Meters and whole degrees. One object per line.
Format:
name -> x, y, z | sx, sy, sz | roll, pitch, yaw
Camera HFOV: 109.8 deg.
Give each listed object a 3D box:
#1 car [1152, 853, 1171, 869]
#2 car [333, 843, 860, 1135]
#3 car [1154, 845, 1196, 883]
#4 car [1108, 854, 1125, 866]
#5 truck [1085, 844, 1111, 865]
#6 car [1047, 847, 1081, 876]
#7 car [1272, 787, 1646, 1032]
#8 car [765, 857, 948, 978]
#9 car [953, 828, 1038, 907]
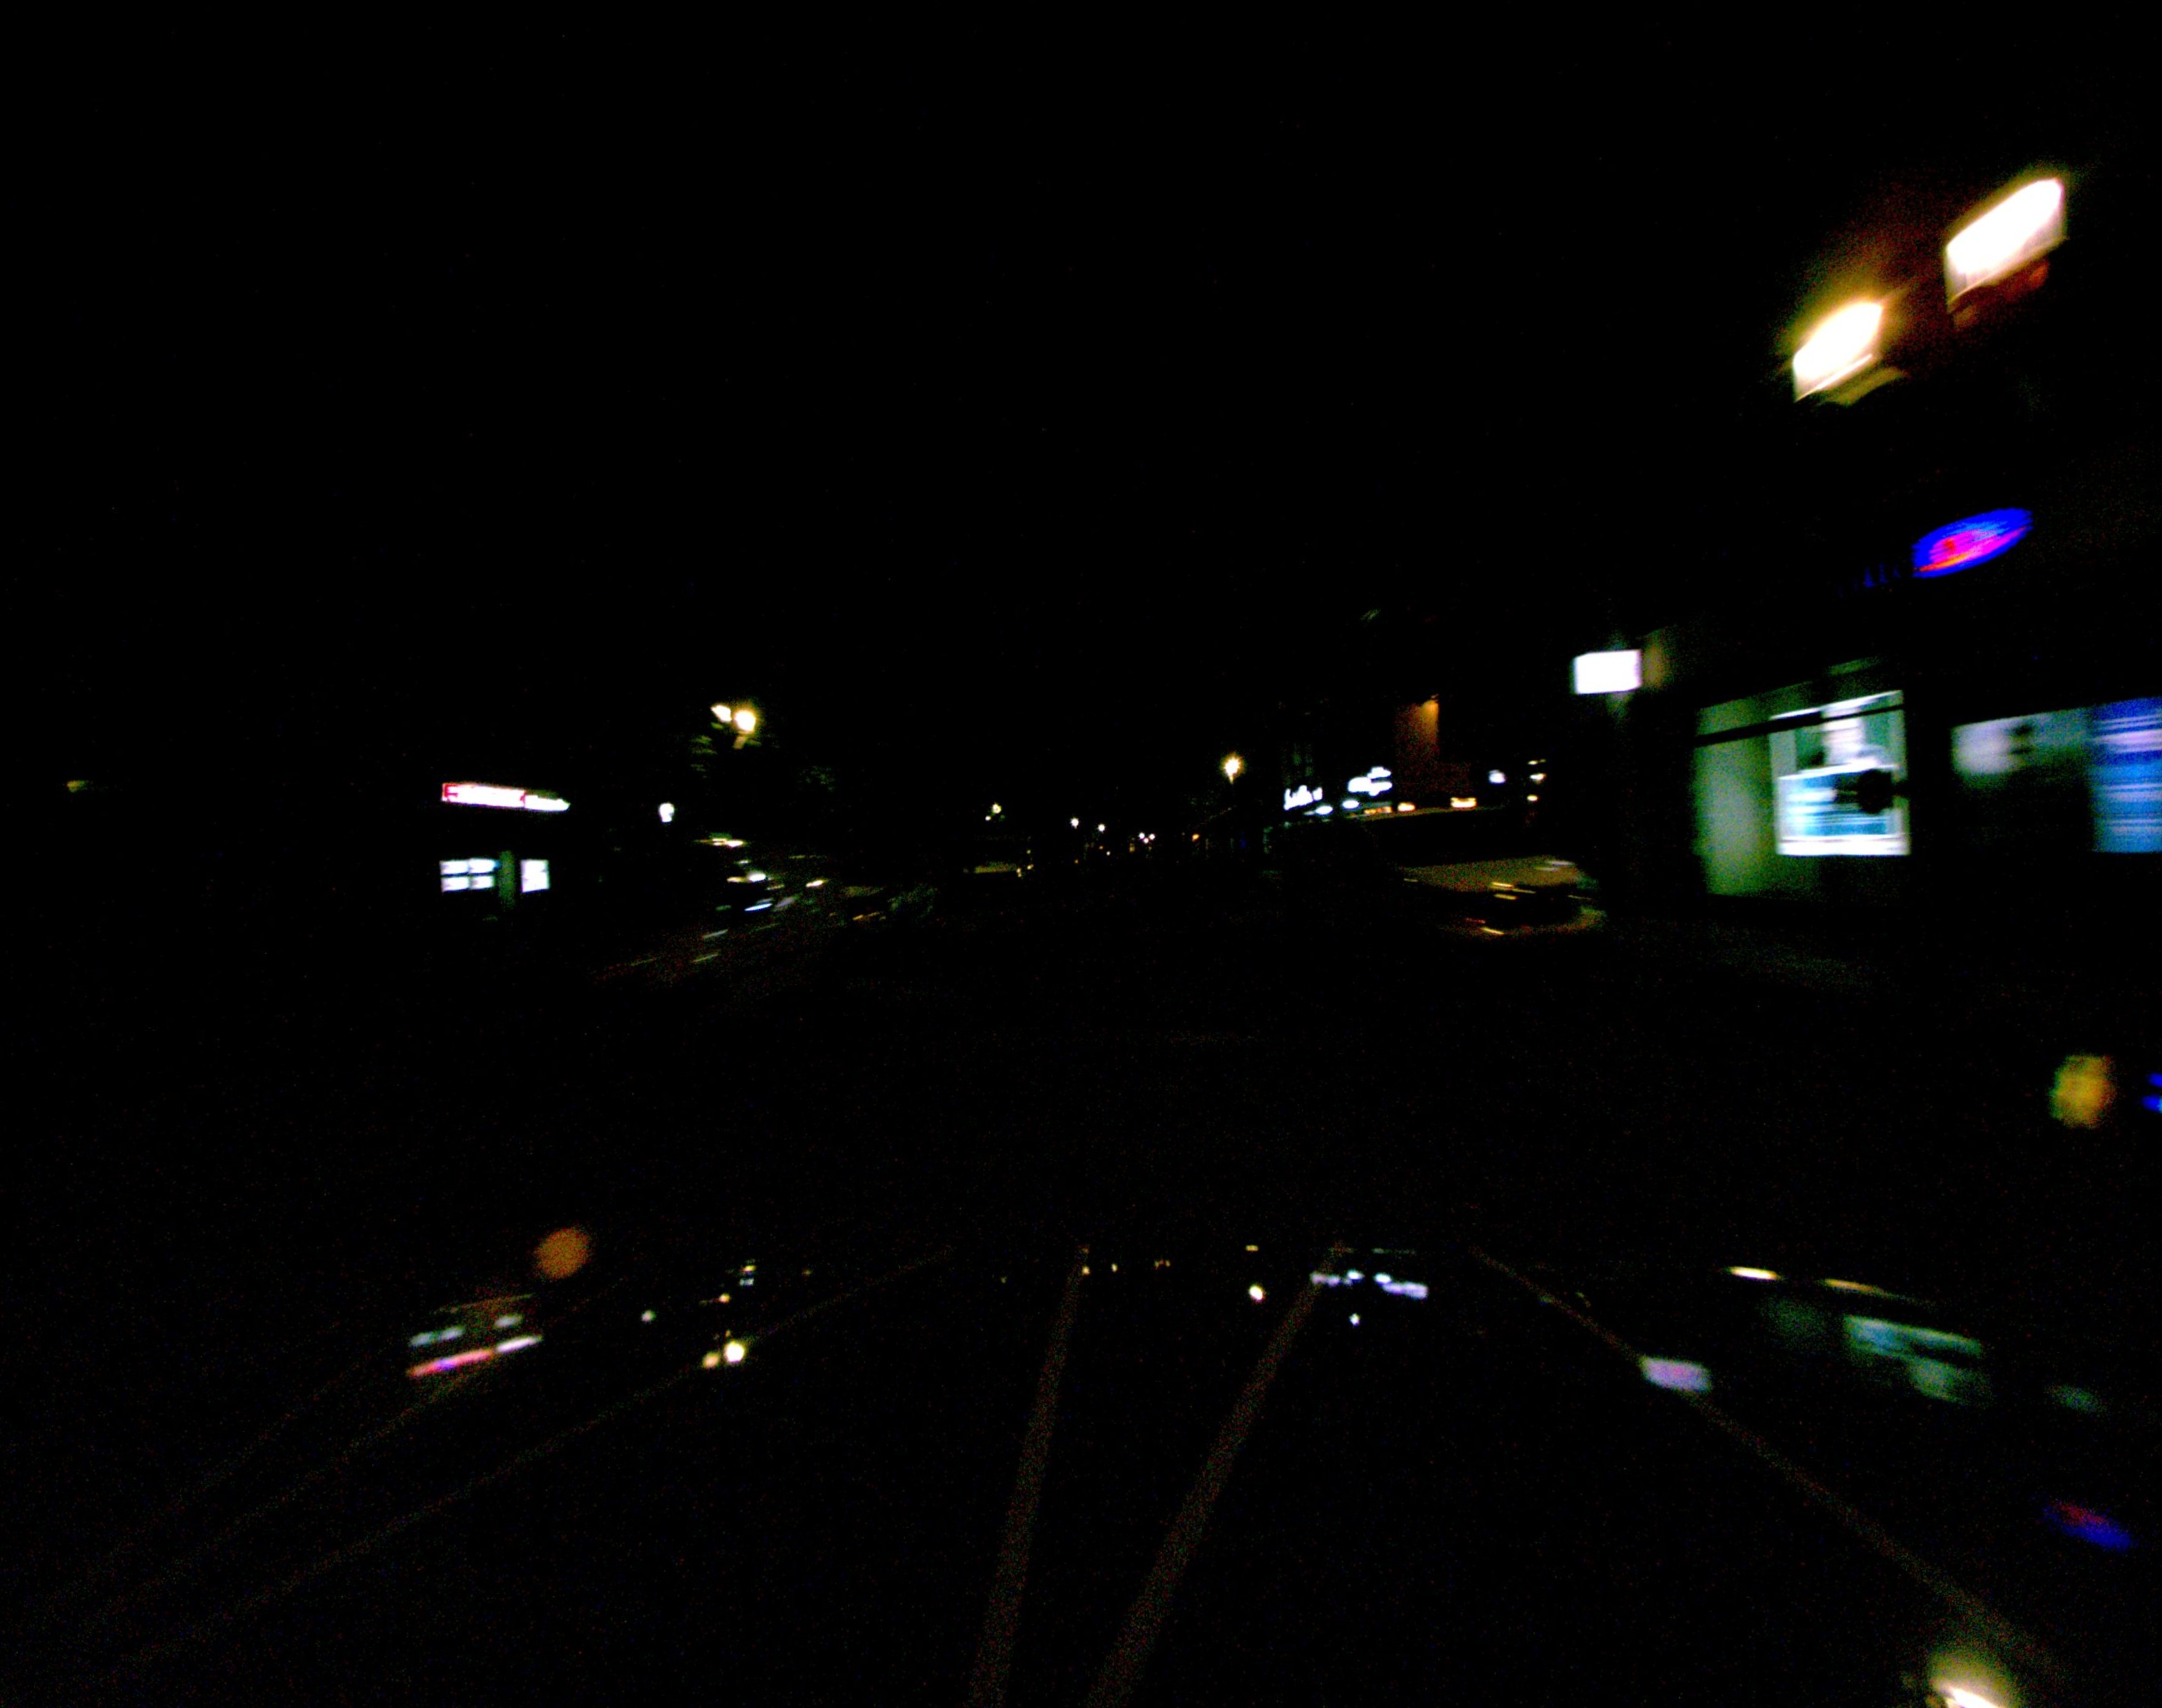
car -> 8.728, 0.745, 82.251 | 1.795, 1.496, 4.001 | -4, 0, 3
car -> -3.780, 0.875, 7.160 | 1.793, 1.811, 4.580 | -3, 0, 3
car -> 5.455, 0.551, 44.565 | 1.929, 1.953, 5.077 | -4, 0, 3
car -> 4.824, 0.742, 103.014 | 1.736, 1.492, 4.002 | -3, 0, 8
truck -> 1.964, -0.003, 87.002 | 2.109, 2.230, 6.291 | -2, 0, 8
car -> -1.144, 0.498, 52.074 | 1.912, 1.792, 4.937 | -3, 0, 3
car -> 4.093, 0.507, 9.462 | 1.857, 2.075, 5.089 | -5, 0, -2
car -> -3.595, 0.923, 13.051 | 1.688, 1.649, 4.297 | -3, 0, 2
car -> -2.779, 0.415, 25.920 | 2.139, 2.313, 5.152 | -3, 0, 1
